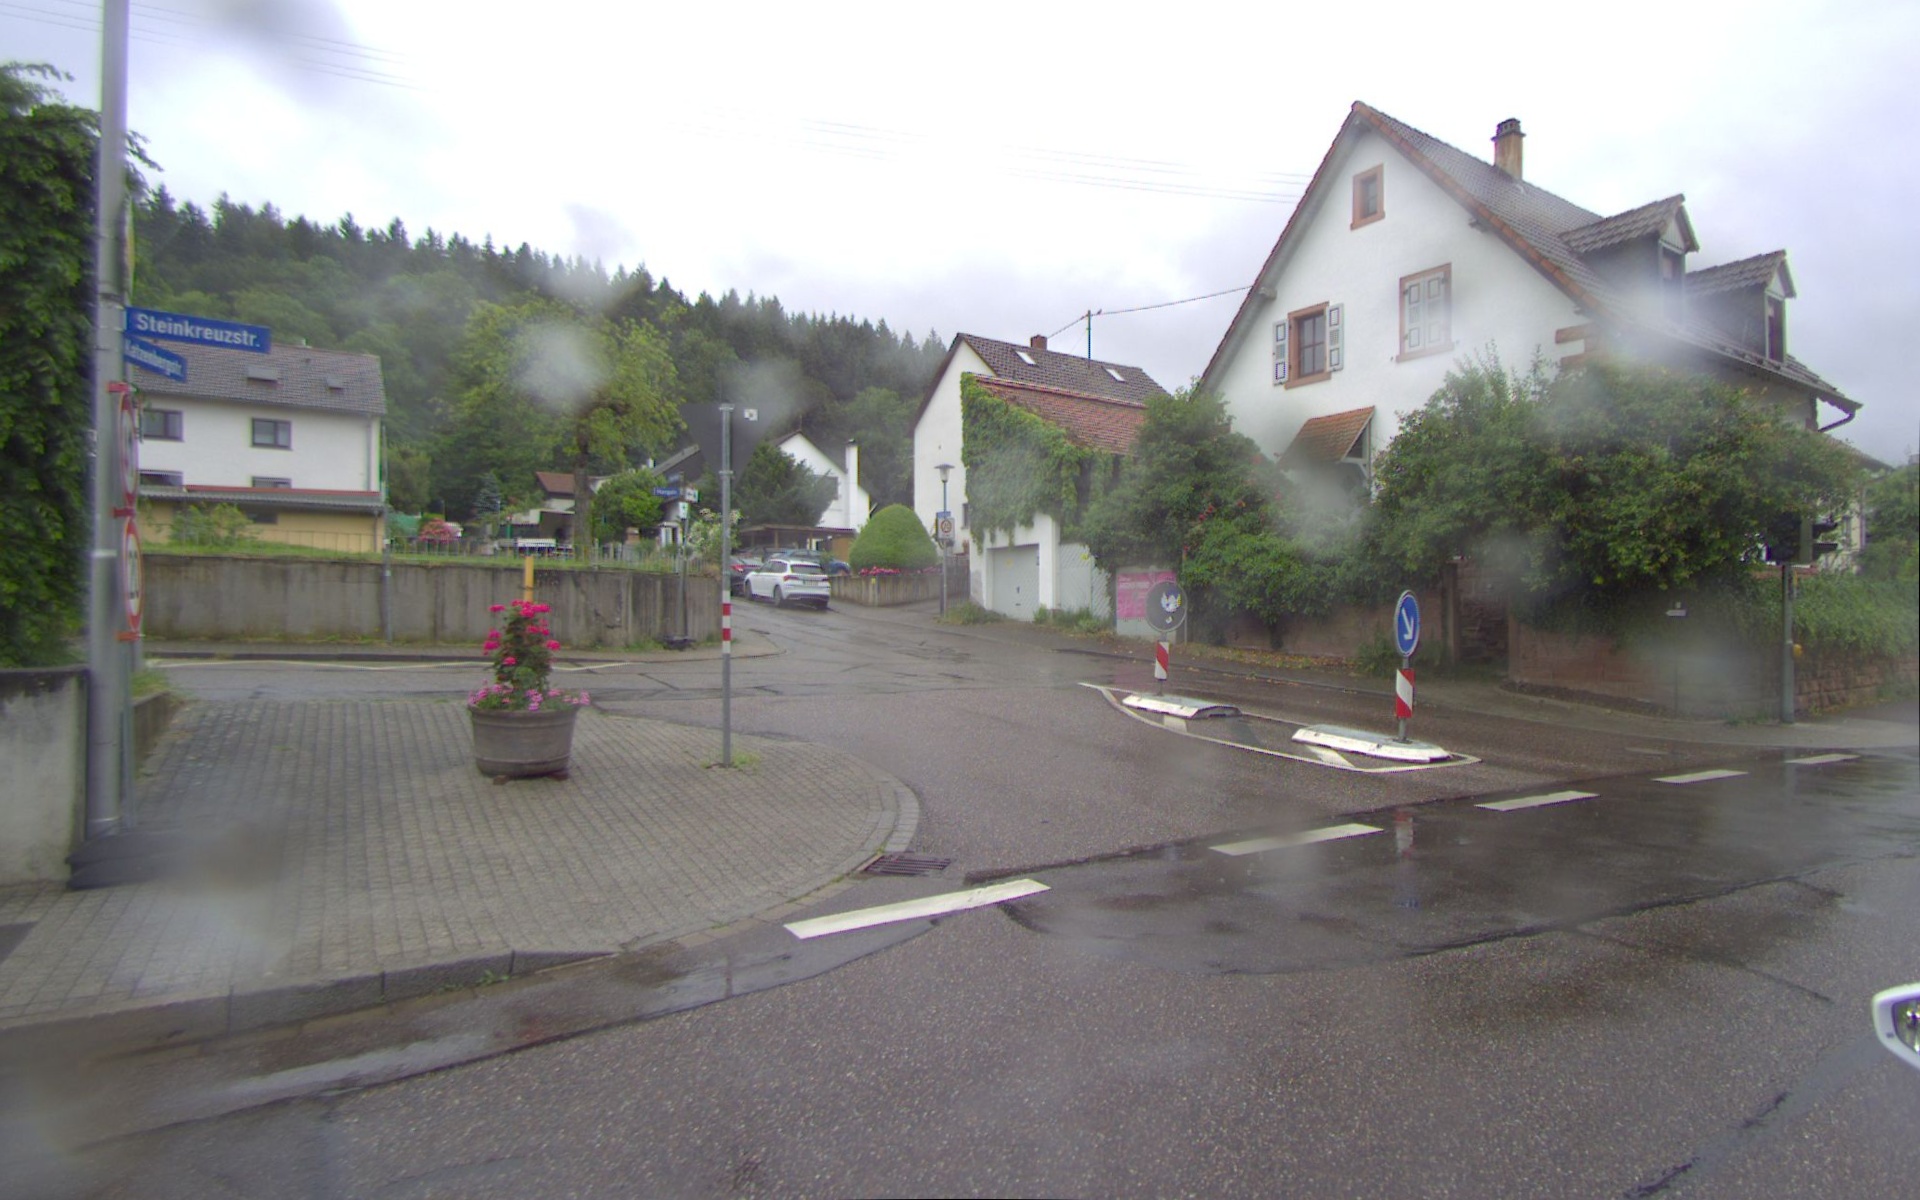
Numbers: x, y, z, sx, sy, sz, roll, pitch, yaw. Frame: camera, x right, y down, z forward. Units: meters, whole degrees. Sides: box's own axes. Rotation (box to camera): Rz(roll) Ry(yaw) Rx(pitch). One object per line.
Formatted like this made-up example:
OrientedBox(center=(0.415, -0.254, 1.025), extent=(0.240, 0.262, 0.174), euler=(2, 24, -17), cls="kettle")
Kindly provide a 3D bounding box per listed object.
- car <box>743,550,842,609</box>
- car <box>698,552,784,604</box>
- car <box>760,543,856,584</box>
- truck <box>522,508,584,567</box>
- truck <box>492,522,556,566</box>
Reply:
OrientedBox(center=(-5.677, -0.720, 33.678), extent=(1.880, 1.534, 3.856), euler=(2, 6, -32), cls="car")
OrientedBox(center=(-8.232, -0.856, 37.553), extent=(1.880, 1.534, 3.856), euler=(2, 6, -32), cls="car")
OrientedBox(center=(-6.914, -1.640, 45.823), extent=(3.850, 1.534, 1.882), euler=(2, 6, -34), cls="car")
OrientedBox(center=(-25.638, -3.903, 63.091), extent=(2.426, 3.397, 6.599), euler=(1, 2, -32), cls="truck")
OrientedBox(center=(-24.039, -3.059, 55.245), extent=(2.276, 2.155, 6.024), euler=(1, 2, -33), cls="truck")
